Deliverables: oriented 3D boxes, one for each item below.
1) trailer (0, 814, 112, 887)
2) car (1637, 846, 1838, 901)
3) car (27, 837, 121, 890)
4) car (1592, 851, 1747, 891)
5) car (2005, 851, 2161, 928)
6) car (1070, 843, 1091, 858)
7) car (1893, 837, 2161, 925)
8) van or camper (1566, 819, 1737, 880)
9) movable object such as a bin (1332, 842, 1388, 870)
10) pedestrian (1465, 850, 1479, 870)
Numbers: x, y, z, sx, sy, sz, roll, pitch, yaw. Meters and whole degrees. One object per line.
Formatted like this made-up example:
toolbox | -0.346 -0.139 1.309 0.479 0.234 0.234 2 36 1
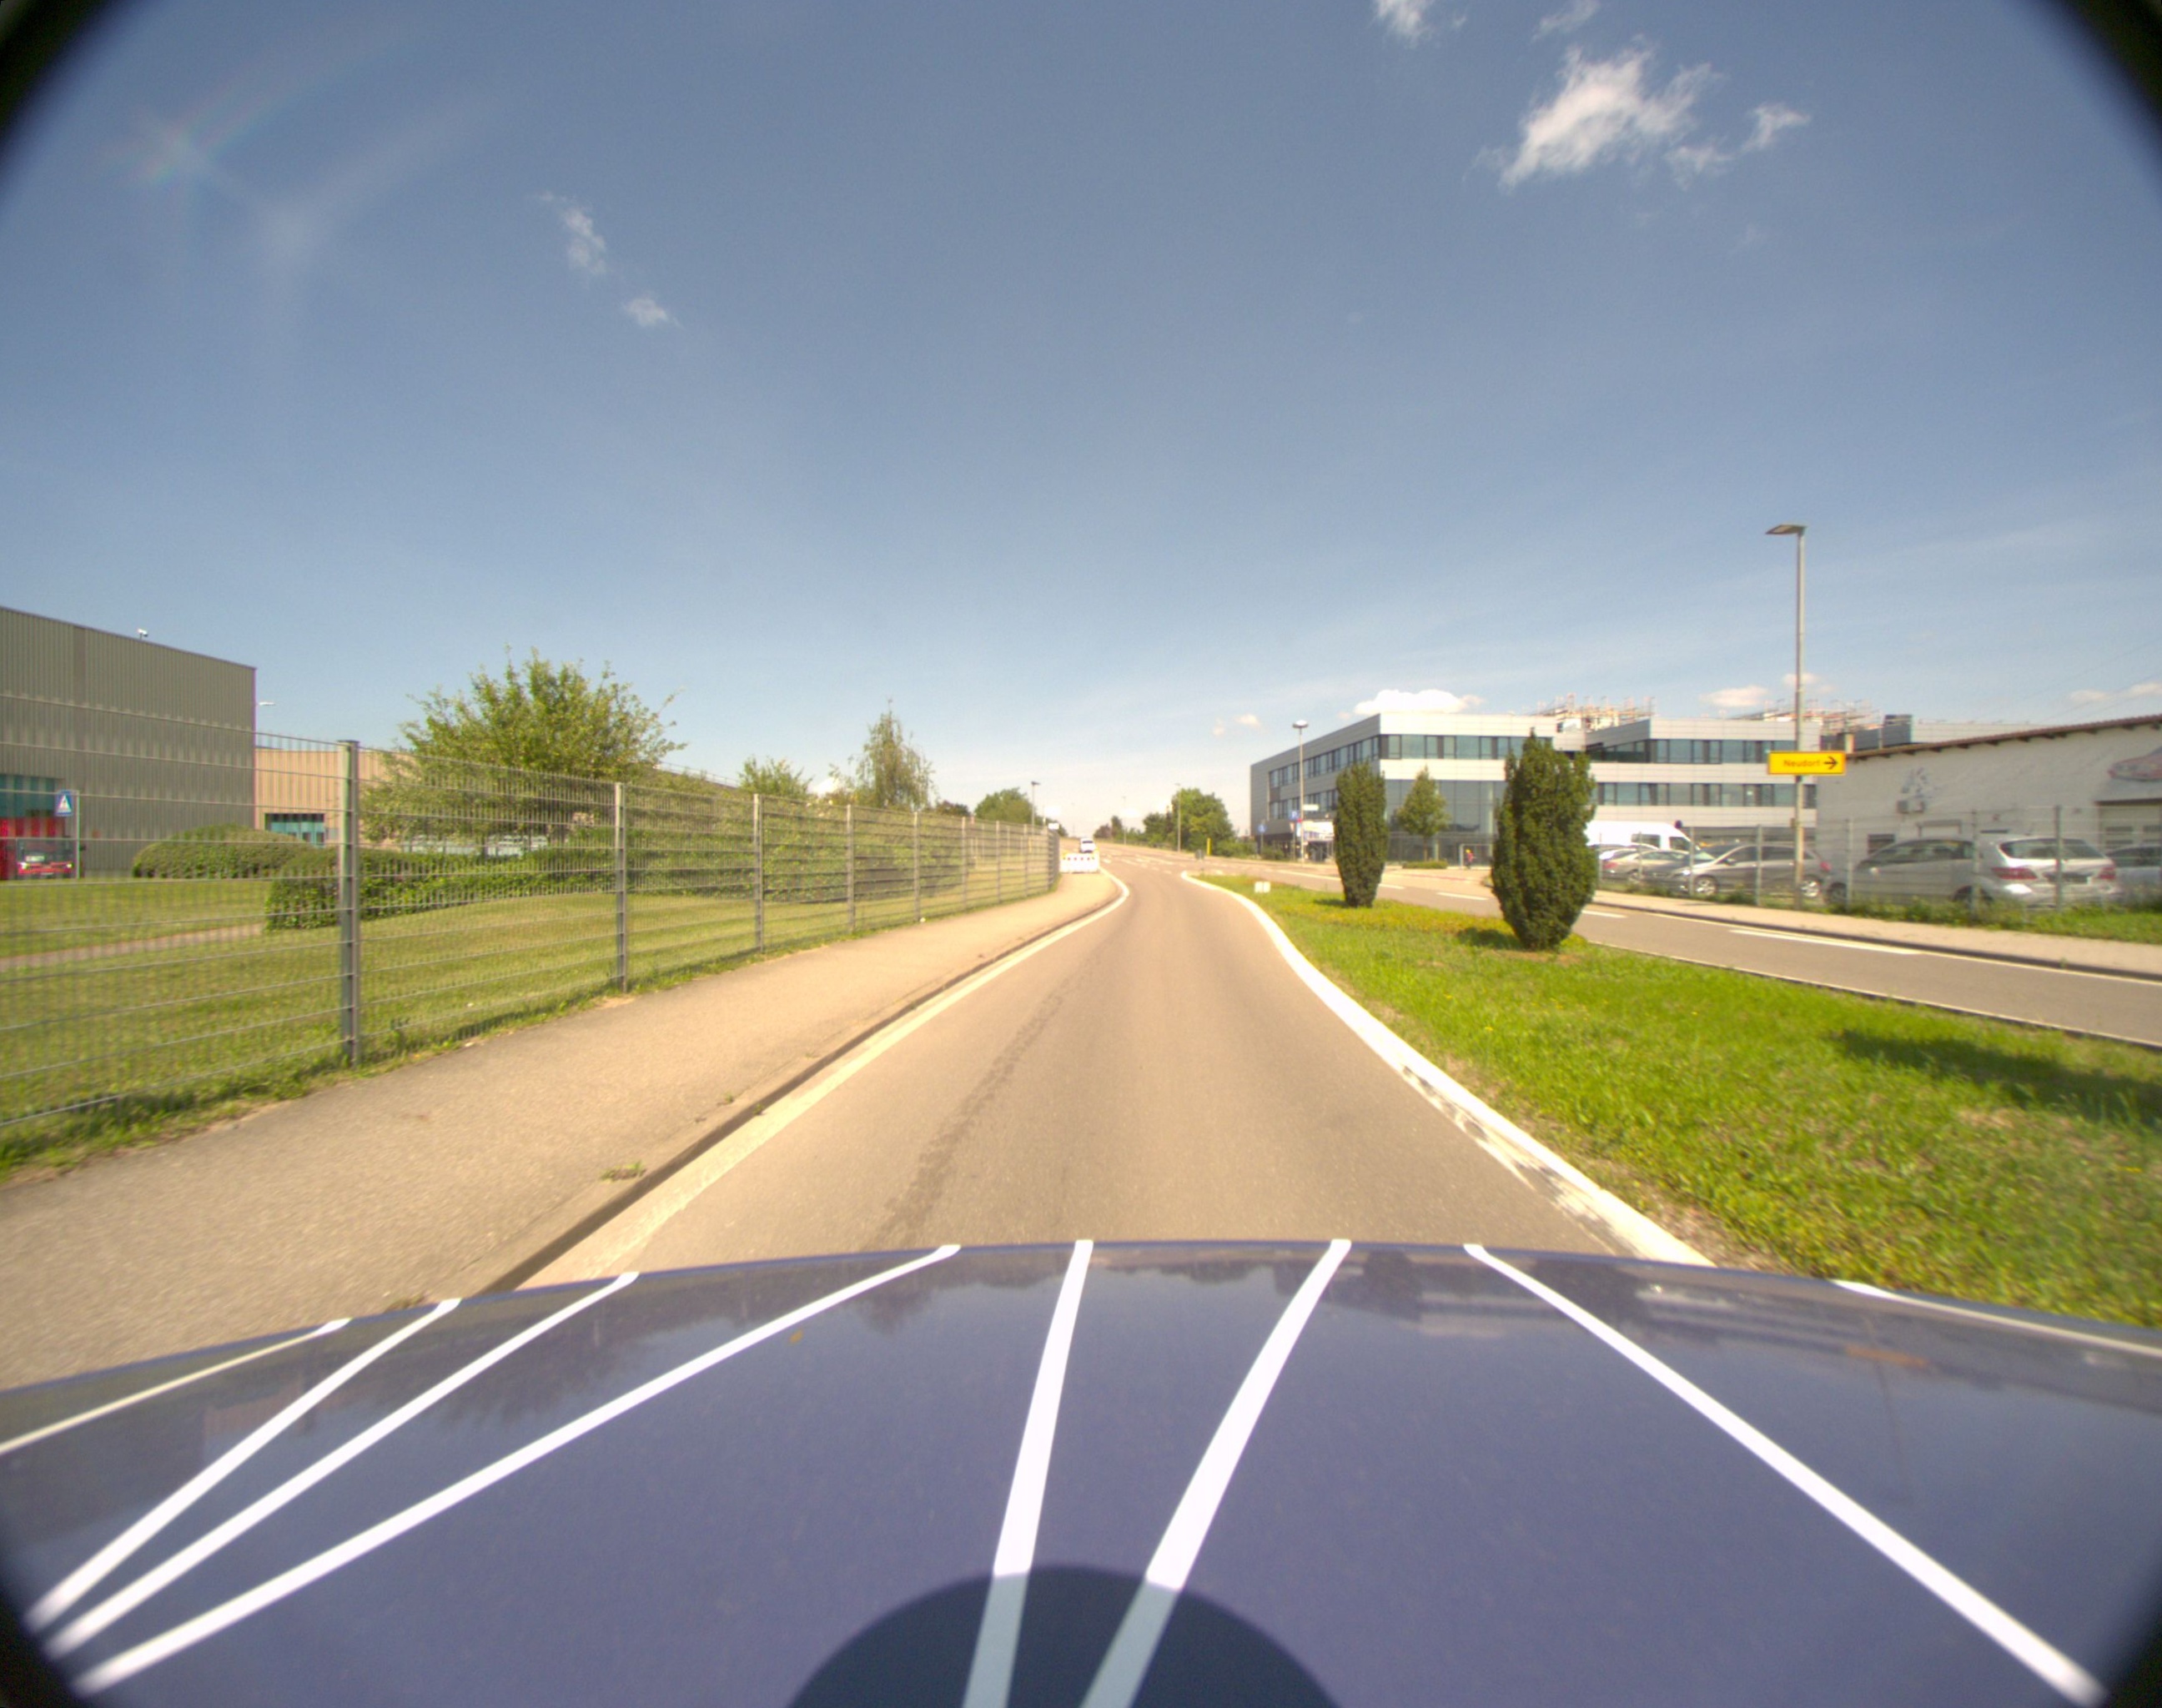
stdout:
trailer | -41.611 -0.153 30.310 5.973 2.706 2.003 0 1 22
car | 18.839 0.527 21.986 3.996 1.510 2.000 0 1 4
car | -37.206 0.312 28.050 3.988 1.805 1.905 0 1 35
car | 20.107 0.548 26.147 3.882 1.313 1.694 0 1 19
car | 21.245 0.672 14.617 1.999 1.434 3.998 0 1 -2
car | -0.127 -0.506 97.243 2.000 1.904 3.996 0 1 -10
car | 18.574 0.420 14.417 1.999 1.434 3.999 0 0 -1
van or camper | 24.517 -0.224 32.978 5.574 2.483 2.082 0 1 25
movable object such as a bin | 25.009 0.129 68.319 2.173 2.396 5.454 0 1 -12
pedestrian | 34.138 0.517 66.420 0.782 1.718 0.774 0 1 -6
